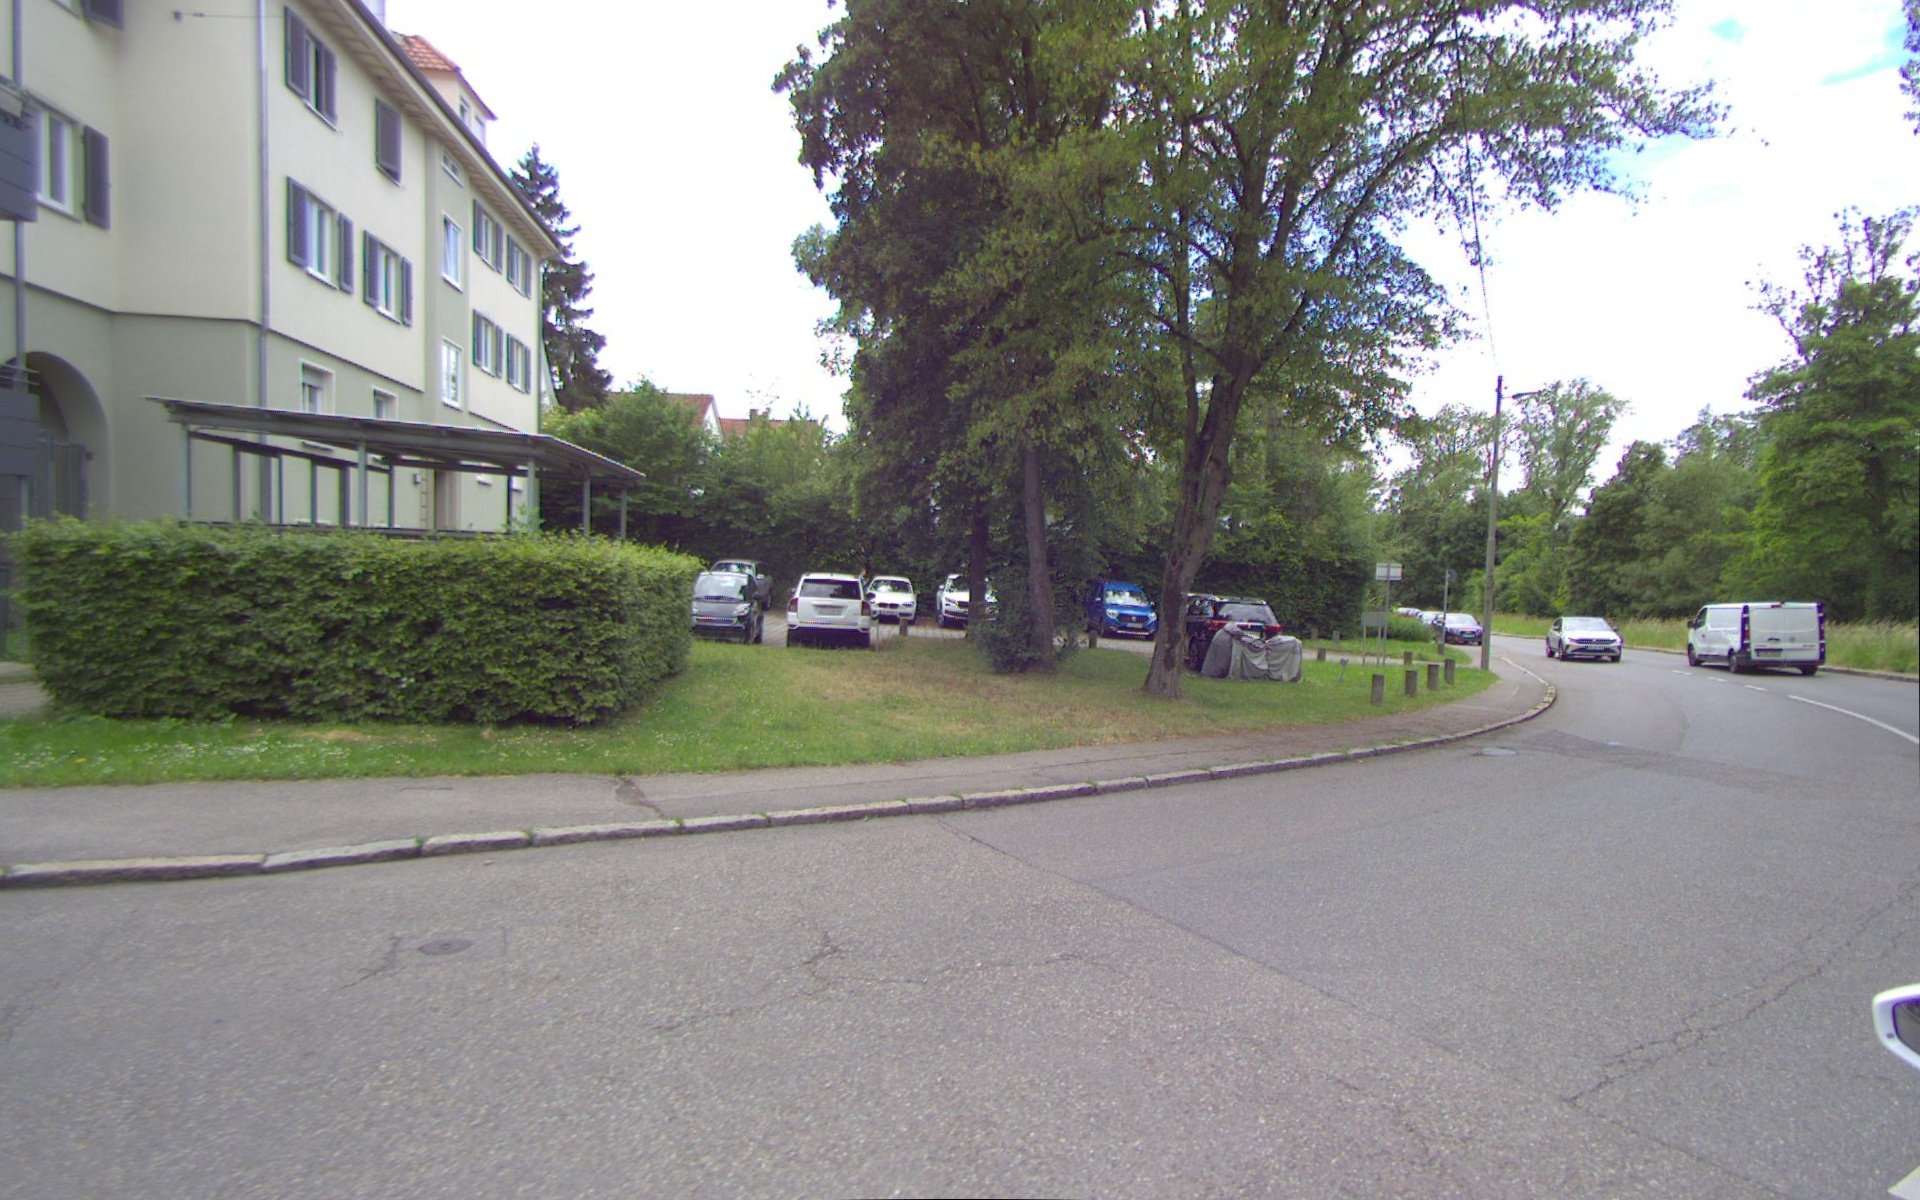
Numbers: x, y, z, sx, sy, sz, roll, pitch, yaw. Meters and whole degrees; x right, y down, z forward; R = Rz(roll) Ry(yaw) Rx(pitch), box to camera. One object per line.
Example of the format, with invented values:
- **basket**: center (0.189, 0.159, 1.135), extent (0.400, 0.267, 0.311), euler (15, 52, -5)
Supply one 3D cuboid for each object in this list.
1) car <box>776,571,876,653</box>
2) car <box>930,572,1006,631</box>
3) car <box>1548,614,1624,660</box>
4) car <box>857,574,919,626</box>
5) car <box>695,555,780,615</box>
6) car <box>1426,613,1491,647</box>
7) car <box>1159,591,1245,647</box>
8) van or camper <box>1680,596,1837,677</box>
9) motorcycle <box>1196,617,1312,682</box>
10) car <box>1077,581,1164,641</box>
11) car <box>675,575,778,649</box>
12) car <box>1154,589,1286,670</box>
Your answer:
- **car**: center (-2.871, 0.171, 22.387), extent (1.920, 1.554, 4.586), euler (3, 2, -5)
- **car**: center (0.191, 0.000, 32.648), extent (1.971, 1.700, 4.492), euler (2, 2, -5)
- **car**: center (21.642, 1.269, 34.880), extent (1.697, 1.476, 4.075), euler (-2, -2, 25)
- **car**: center (-2.286, -0.053, 32.992), extent (1.843, 1.513, 4.196), euler (2, 2, -2)
- **car**: center (-7.228, -0.508, 33.048), extent (1.713, 1.753, 4.626), euler (2, 2, 0)
- **car**: center (23.277, 1.357, 47.035), extent (1.705, 1.437, 4.506), euler (1, 0, 13)
- **car**: center (7.892, 0.569, 33.107), extent (1.713, 1.615, 4.271), euler (2, 1, 0)
- **van or camper**: center (22.734, 0.943, 28.861), extent (1.986, 1.983, 4.895), euler (1, 2, 19)
- **motorcycle**: center (5.867, 0.977, 20.110), extent (2.026, 1.167, 0.865), euler (2, 1, -2)
- **car**: center (5.216, 0.299, 33.201), extent (1.715, 1.755, 4.259), euler (2, 2, -7)
- **car**: center (-4.976, 0.199, 21.808), extent (1.479, 1.418, 3.600), euler (2, 2, -2)
- **car**: center (5.847, 0.596, 23.133), extent (1.713, 1.615, 4.331), euler (2, 1, -2)
